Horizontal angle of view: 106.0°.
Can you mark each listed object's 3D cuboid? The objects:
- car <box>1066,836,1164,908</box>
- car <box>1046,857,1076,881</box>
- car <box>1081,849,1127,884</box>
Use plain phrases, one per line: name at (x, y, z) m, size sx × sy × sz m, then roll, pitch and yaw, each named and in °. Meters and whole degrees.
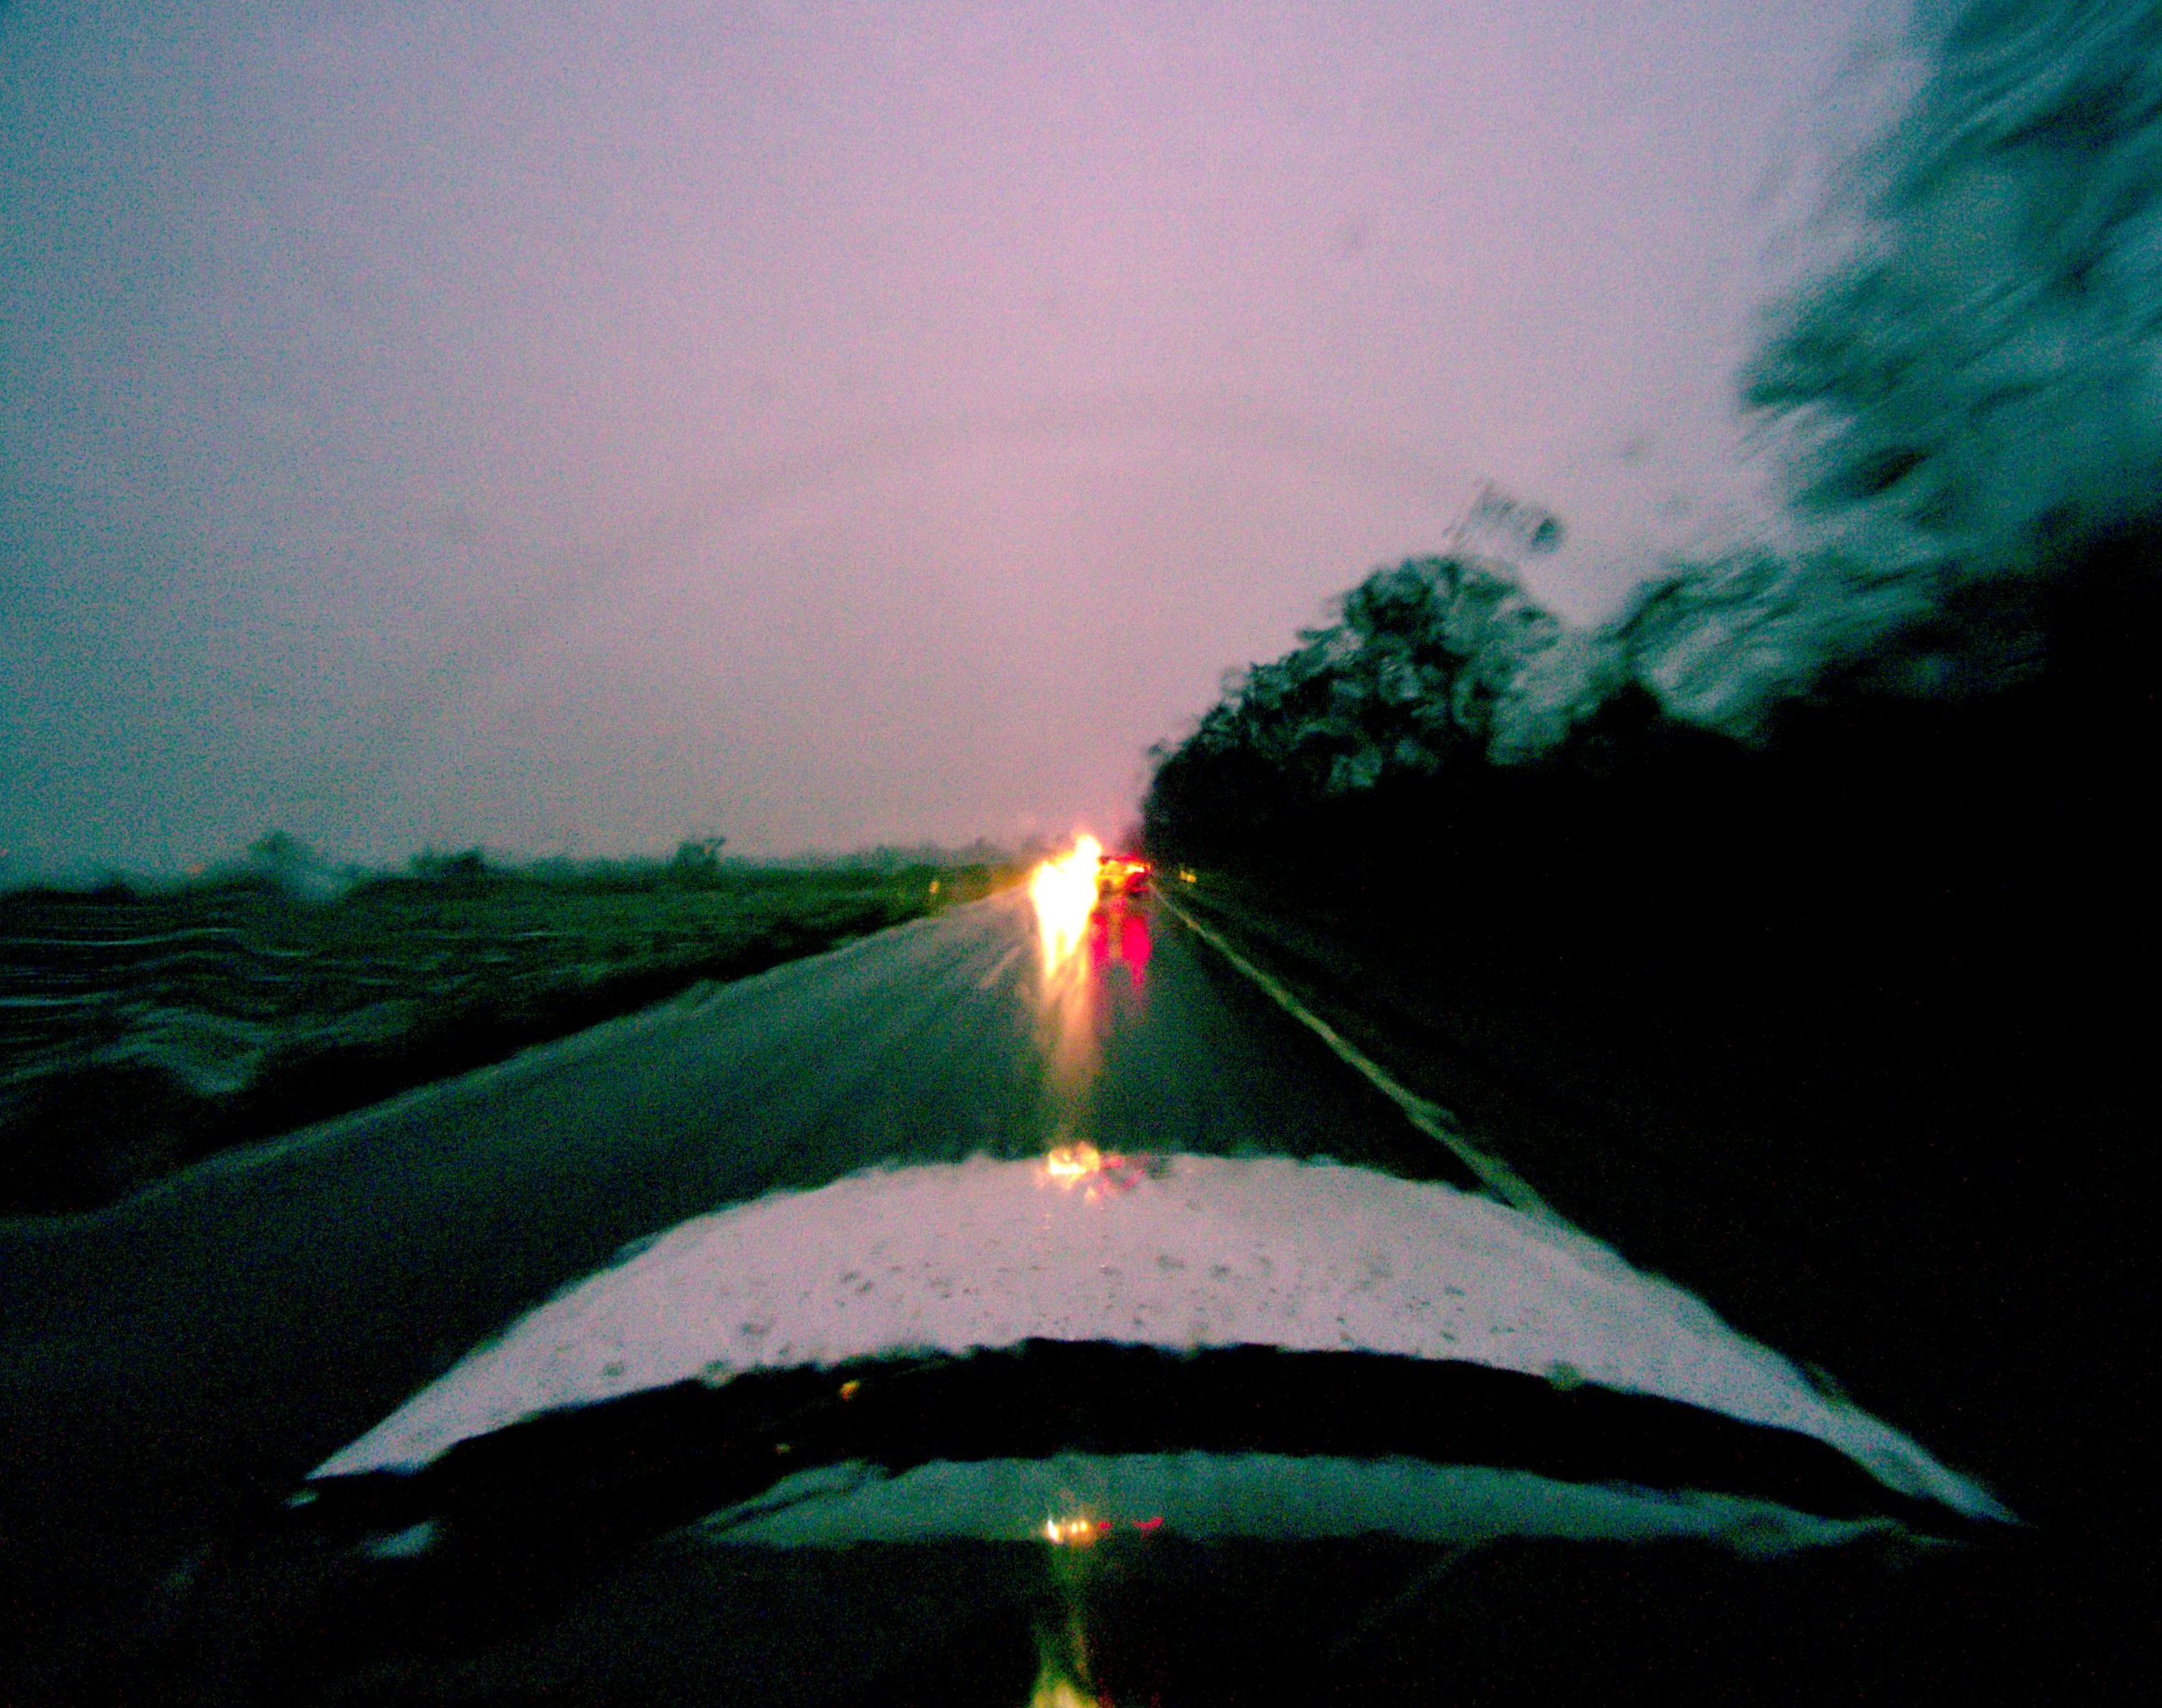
car at (1.121, 0.549, 26.438) m, size 2.809 × 2.077 × 5.808 m, roll 0°, pitch 0°, yaw 3°
car at (-1.320, 1.006, 55.179) m, size 1.722 × 1.413 × 4.024 m, roll -4°, pitch 0°, yaw 1°
car at (1.439, 0.735, 49.085) m, size 2.581 × 2.014 × 5.808 m, roll 0°, pitch 0°, yaw 3°
